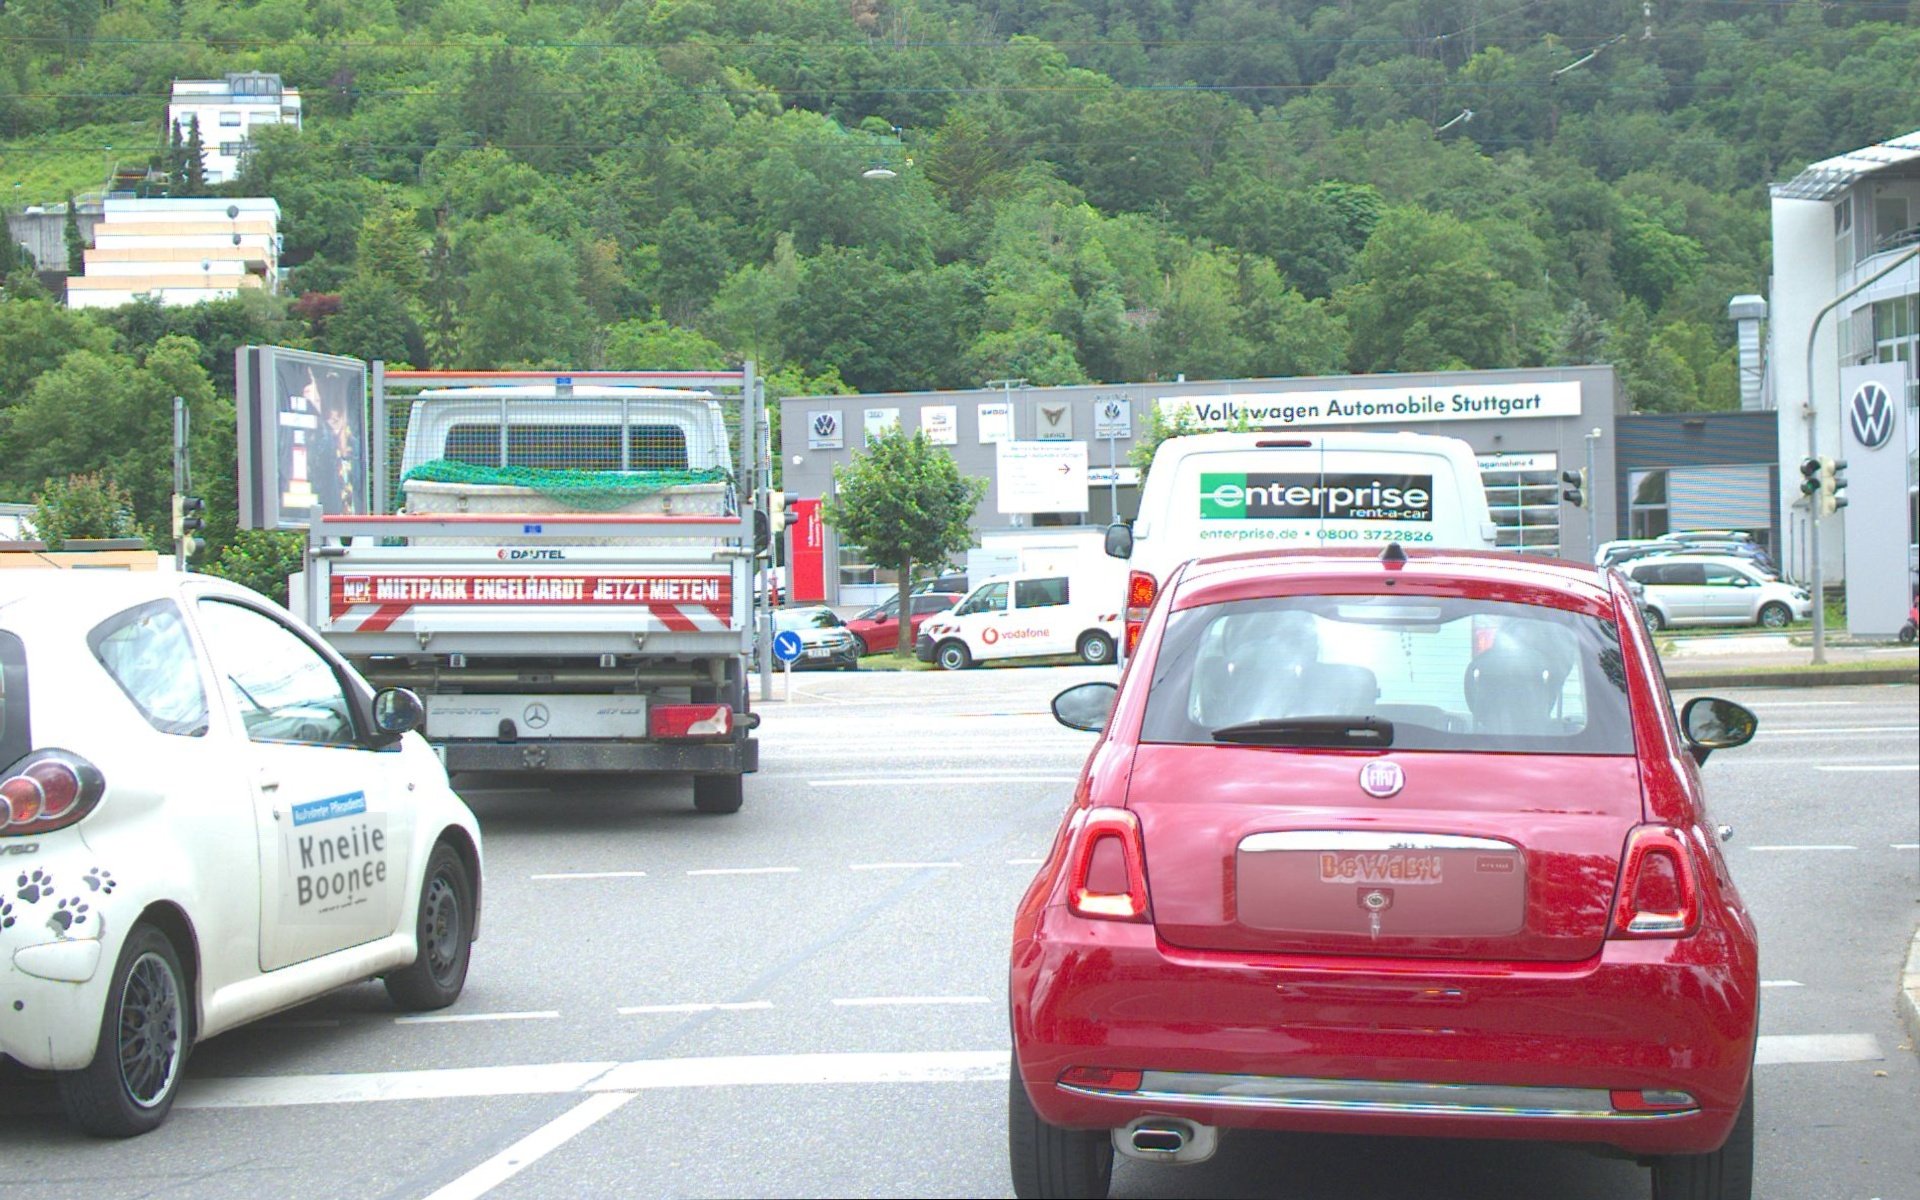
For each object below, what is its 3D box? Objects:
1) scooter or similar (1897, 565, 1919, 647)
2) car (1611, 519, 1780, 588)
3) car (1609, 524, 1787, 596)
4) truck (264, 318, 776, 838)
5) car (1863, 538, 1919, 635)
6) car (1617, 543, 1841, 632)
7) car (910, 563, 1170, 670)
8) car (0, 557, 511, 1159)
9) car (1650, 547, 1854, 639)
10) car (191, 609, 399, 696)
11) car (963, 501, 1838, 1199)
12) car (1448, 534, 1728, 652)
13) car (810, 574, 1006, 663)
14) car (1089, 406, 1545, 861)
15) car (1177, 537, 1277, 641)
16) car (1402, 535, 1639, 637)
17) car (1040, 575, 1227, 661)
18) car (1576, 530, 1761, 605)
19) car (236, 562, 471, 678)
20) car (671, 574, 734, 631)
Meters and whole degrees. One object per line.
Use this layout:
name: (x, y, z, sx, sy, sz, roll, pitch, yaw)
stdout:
scooter or similar: (15.593, 0.111, 54.682, 1.200, 1.284, 0.575, 2, -1, 4)
car: (20.975, -1.321, 98.187, 4.497, 1.723, 1.999, 2, -1, 8)
car: (19.949, -1.069, 93.108, 4.497, 1.723, 1.999, 2, -1, 8)
truck: (-2.217, -0.213, 19.015, 2.313, 2.413, 5.655, -1, 2, -3)
car: (17.155, -0.232, 57.712, 1.993, 1.634, 4.001, 0, 0, -19)
car: (16.515, -0.259, 74.035, 4.497, 1.723, 1.999, 2, -1, 8)
car: (1.658, 0.364, 70.894, 5.004, 2.007, 1.999, -2, -2, 13)
car: (-2.600, 0.631, 10.031, 1.594, 1.415, 3.373, -3, 1, 9)
car: (18.784, -0.151, 81.732, 4.497, 1.990, 1.999, 2, -1, 8)
car: (-12.265, 0.950, 63.410, 3.557, 1.481, 1.604, -1, 0, -18)
car: (1.246, 0.587, 8.897, 1.698, 1.520, 3.998, 2, 0, 11)
car: (9.932, -0.137, 54.336, 3.992, 1.634, 1.998, 2, 4, 22)
car: (-1.250, 0.467, 84.585, 4.497, 1.990, 1.999, 2, -1, 8)
car: (1.730, 0.081, 18.248, 1.999, 2.033, 4.832, 2, 2, 2)
car: (5.737, -0.190, 73.522, 1.994, 2.007, 5.016, -2, -2, 5)
car: (10.316, -0.248, 63.466, 3.987, 1.700, 2.000, 2, -1, 0)
car: (3.978, 0.427, 78.648, 3.989, 1.788, 1.852, 2, -1, 11)
car: (18.299, -0.827, 88.966, 4.497, 1.723, 1.999, 2, -1, 8)
car: (-12.809, 0.423, 72.575, 4.494, 2.235, 2.000, 3, -1, -20)
car: (-9.650, 0.109, 129.275, 1.993, 1.990, 4.510, 2, -1, -1)
